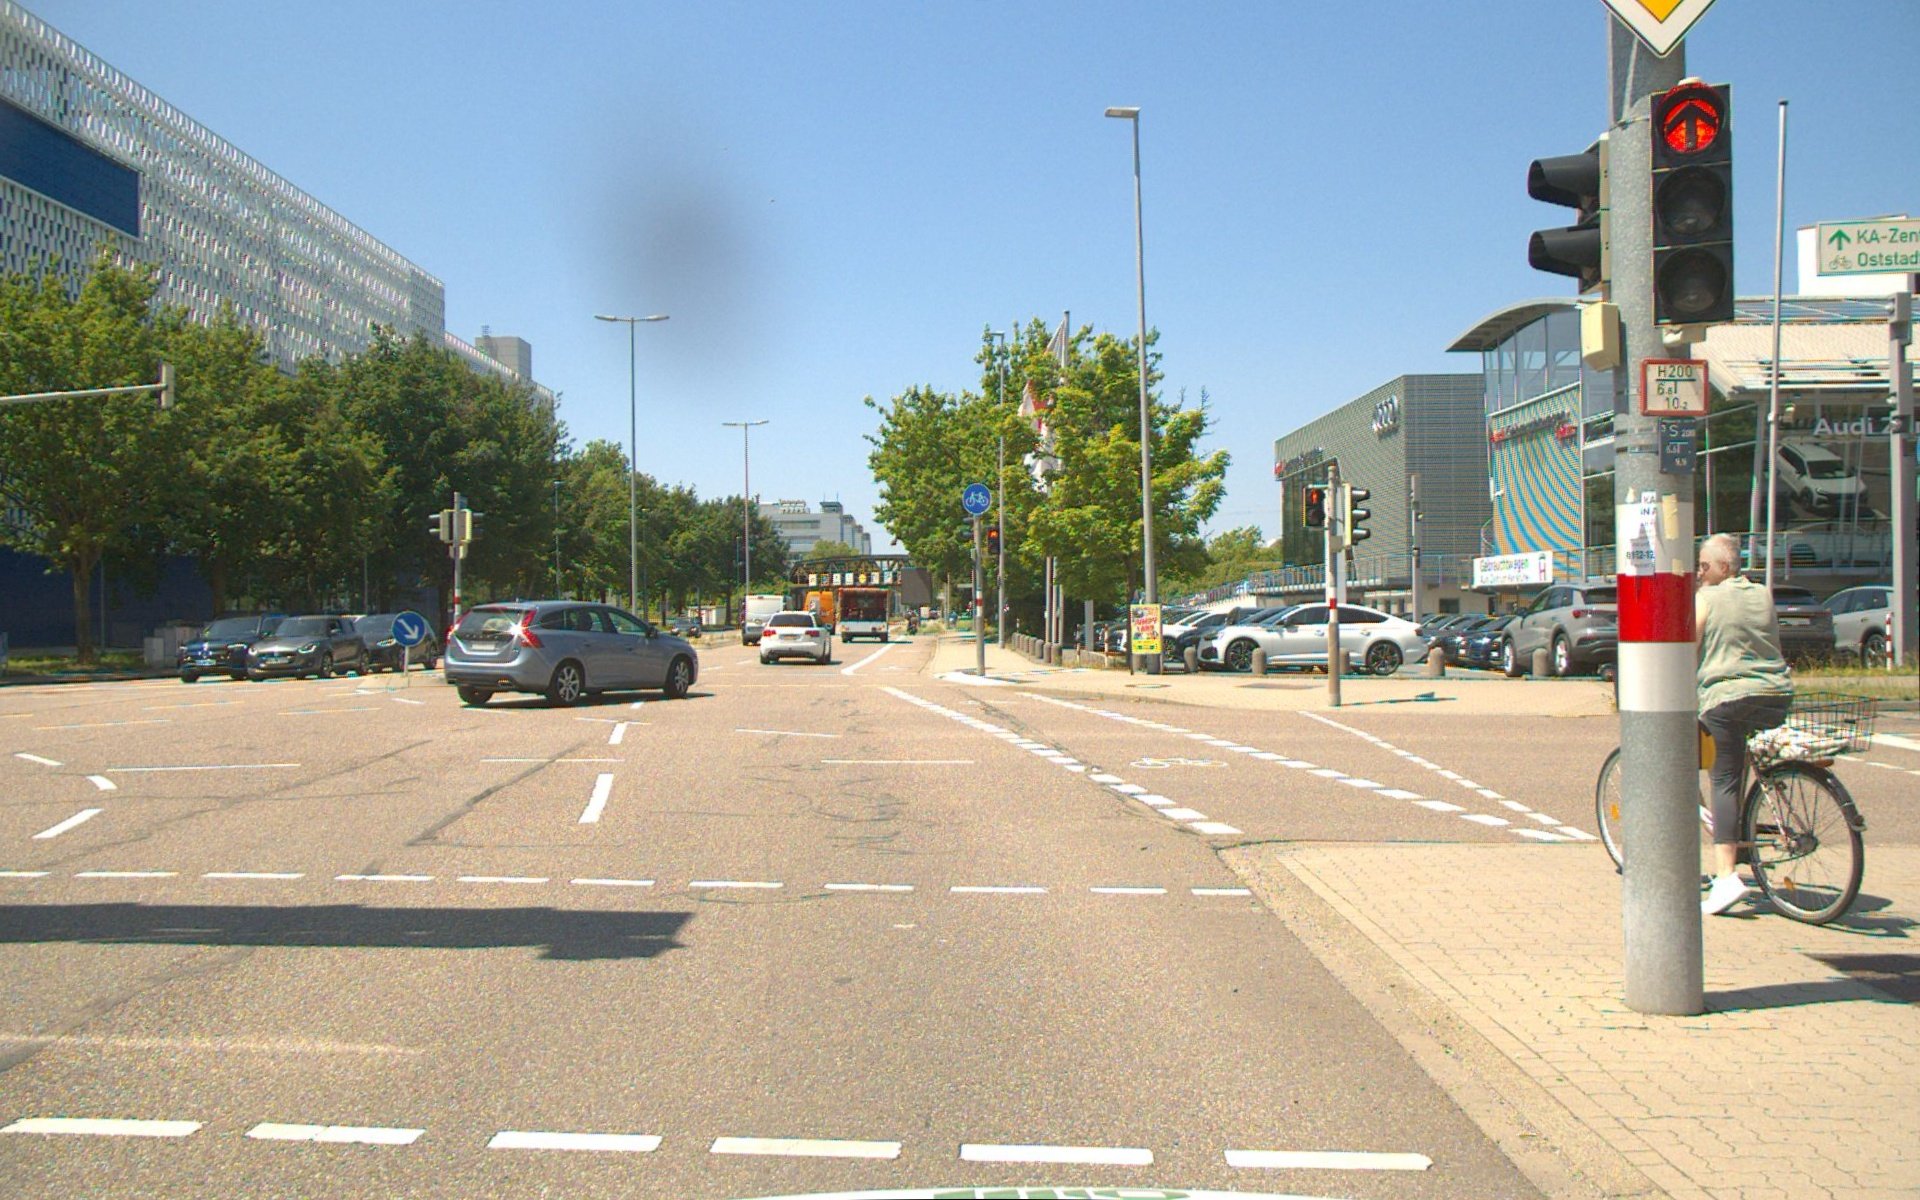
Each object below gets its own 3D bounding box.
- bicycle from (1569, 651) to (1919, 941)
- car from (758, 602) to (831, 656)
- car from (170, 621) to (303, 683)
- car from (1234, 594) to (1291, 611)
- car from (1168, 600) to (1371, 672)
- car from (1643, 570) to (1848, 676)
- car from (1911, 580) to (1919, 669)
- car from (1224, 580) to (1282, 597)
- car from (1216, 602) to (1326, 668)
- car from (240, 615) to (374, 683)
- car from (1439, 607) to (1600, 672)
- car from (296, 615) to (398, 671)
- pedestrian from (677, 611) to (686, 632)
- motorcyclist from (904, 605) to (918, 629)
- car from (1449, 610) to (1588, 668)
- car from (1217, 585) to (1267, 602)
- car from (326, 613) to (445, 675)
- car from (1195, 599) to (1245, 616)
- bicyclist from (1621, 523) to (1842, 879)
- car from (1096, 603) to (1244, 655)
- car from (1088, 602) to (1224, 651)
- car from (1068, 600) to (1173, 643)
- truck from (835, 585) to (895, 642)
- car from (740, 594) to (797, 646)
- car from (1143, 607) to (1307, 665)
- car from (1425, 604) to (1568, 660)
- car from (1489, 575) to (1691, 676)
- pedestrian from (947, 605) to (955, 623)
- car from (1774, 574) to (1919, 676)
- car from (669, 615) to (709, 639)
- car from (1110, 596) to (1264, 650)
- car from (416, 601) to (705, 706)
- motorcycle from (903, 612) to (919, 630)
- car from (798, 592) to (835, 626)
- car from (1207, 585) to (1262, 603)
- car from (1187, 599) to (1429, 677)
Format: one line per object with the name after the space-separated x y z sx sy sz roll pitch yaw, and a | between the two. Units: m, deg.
3.719 0.867 8.035 0.616 1.153 1.892 0 1 -7 | bicycle
-4.504 0.777 45.363 1.708 1.420 3.528 0 0 -1 | car
-18.340 1.291 42.107 1.627 1.449 4.037 -2 -1 -1 | car
21.393 0.192 116.873 3.652 1.150 1.682 1 -1 -5 | car
6.629 0.767 35.719 4.013 1.415 1.868 2 -1 -1 | car
13.692 0.393 29.094 1.806 1.683 3.999 2 -1 2 | car
18.690 0.481 29.003 1.604 1.644 3.814 0 1 -5 | car
21.471 -0.862 121.331 3.862 1.232 1.715 0 -1 -5 | car
7.412 0.818 39.788 1.824 1.444 4.663 2 -1 1 | car
-15.139 1.117 38.543 1.610 1.413 3.715 -3 -1 0 | car
15.566 1.087 46.092 3.904 1.650 1.656 2 -1 -1 | car
-18.597 1.290 50.341 1.691 1.571 3.914 -2 -1 -1 | car
-25.641 1.989 152.110 0.728 1.917 0.577 -1 -1 0 | pedestrian
-3.138 1.088 106.032 0.706 1.556 0.868 1 -1 -11 | motorcyclist
16.638 1.160 49.371 3.573 1.608 1.642 2 -1 -1 | car
21.323 -0.489 125.102 3.455 1.261 1.675 1 -1 -5 | car
-15.489 1.173 44.796 1.691 1.531 4.243 -3 -1 0 | car
22.257 0.660 141.864 3.909 1.335 1.795 -1 -1 -5 | car
3.723 0.469 8.034 0.616 1.634 0.824 1 -1 -8 | bicyclist
6.205 0.852 49.206 4.140 1.415 1.868 2 -1 -1 | car
6.150 0.828 52.254 4.017 1.429 1.868 2 -1 -1 | car
5.827 0.782 60.429 3.607 1.479 1.833 2 -1 -1 | car
-4.321 0.621 76.414 2.408 2.452 7.132 1 0 -1 | truck
-7.686 0.795 66.704 1.953 2.049 3.998 1 -1 -2 | car
6.965 0.932 43.803 4.013 1.388 1.874 2 -1 -1 | car
16.715 0.994 51.617 3.901 1.601 1.633 2 -1 -1 | car
11.003 0.480 29.247 1.830 1.586 4.503 -2 -2 0 | car
-0.743 1.135 131.202 0.611 1.399 0.564 -1 -1 -3 | pedestrian
16.432 0.444 29.280 1.808 1.683 3.994 2 -1 -5 | car
-17.899 1.768 109.463 1.691 1.471 4.720 -3 -1 2 | car
6.347 0.651 46.540 4.016 1.372 1.868 2 -1 -1 | car
-5.799 0.734 24.520 1.863 1.400 4.227 -1 -1 27 | car
-3.134 1.364 105.984 0.703 1.124 1.825 1 -1 -10 | motorcycle
-8.968 0.582 103.834 1.953 2.049 4.811 1 0 -1 | car
21.547 -0.453 129.732 3.909 1.335 1.795 1 -1 -5 | car
6.950 0.750 33.352 4.497 1.415 1.869 2 -1 1 | car
